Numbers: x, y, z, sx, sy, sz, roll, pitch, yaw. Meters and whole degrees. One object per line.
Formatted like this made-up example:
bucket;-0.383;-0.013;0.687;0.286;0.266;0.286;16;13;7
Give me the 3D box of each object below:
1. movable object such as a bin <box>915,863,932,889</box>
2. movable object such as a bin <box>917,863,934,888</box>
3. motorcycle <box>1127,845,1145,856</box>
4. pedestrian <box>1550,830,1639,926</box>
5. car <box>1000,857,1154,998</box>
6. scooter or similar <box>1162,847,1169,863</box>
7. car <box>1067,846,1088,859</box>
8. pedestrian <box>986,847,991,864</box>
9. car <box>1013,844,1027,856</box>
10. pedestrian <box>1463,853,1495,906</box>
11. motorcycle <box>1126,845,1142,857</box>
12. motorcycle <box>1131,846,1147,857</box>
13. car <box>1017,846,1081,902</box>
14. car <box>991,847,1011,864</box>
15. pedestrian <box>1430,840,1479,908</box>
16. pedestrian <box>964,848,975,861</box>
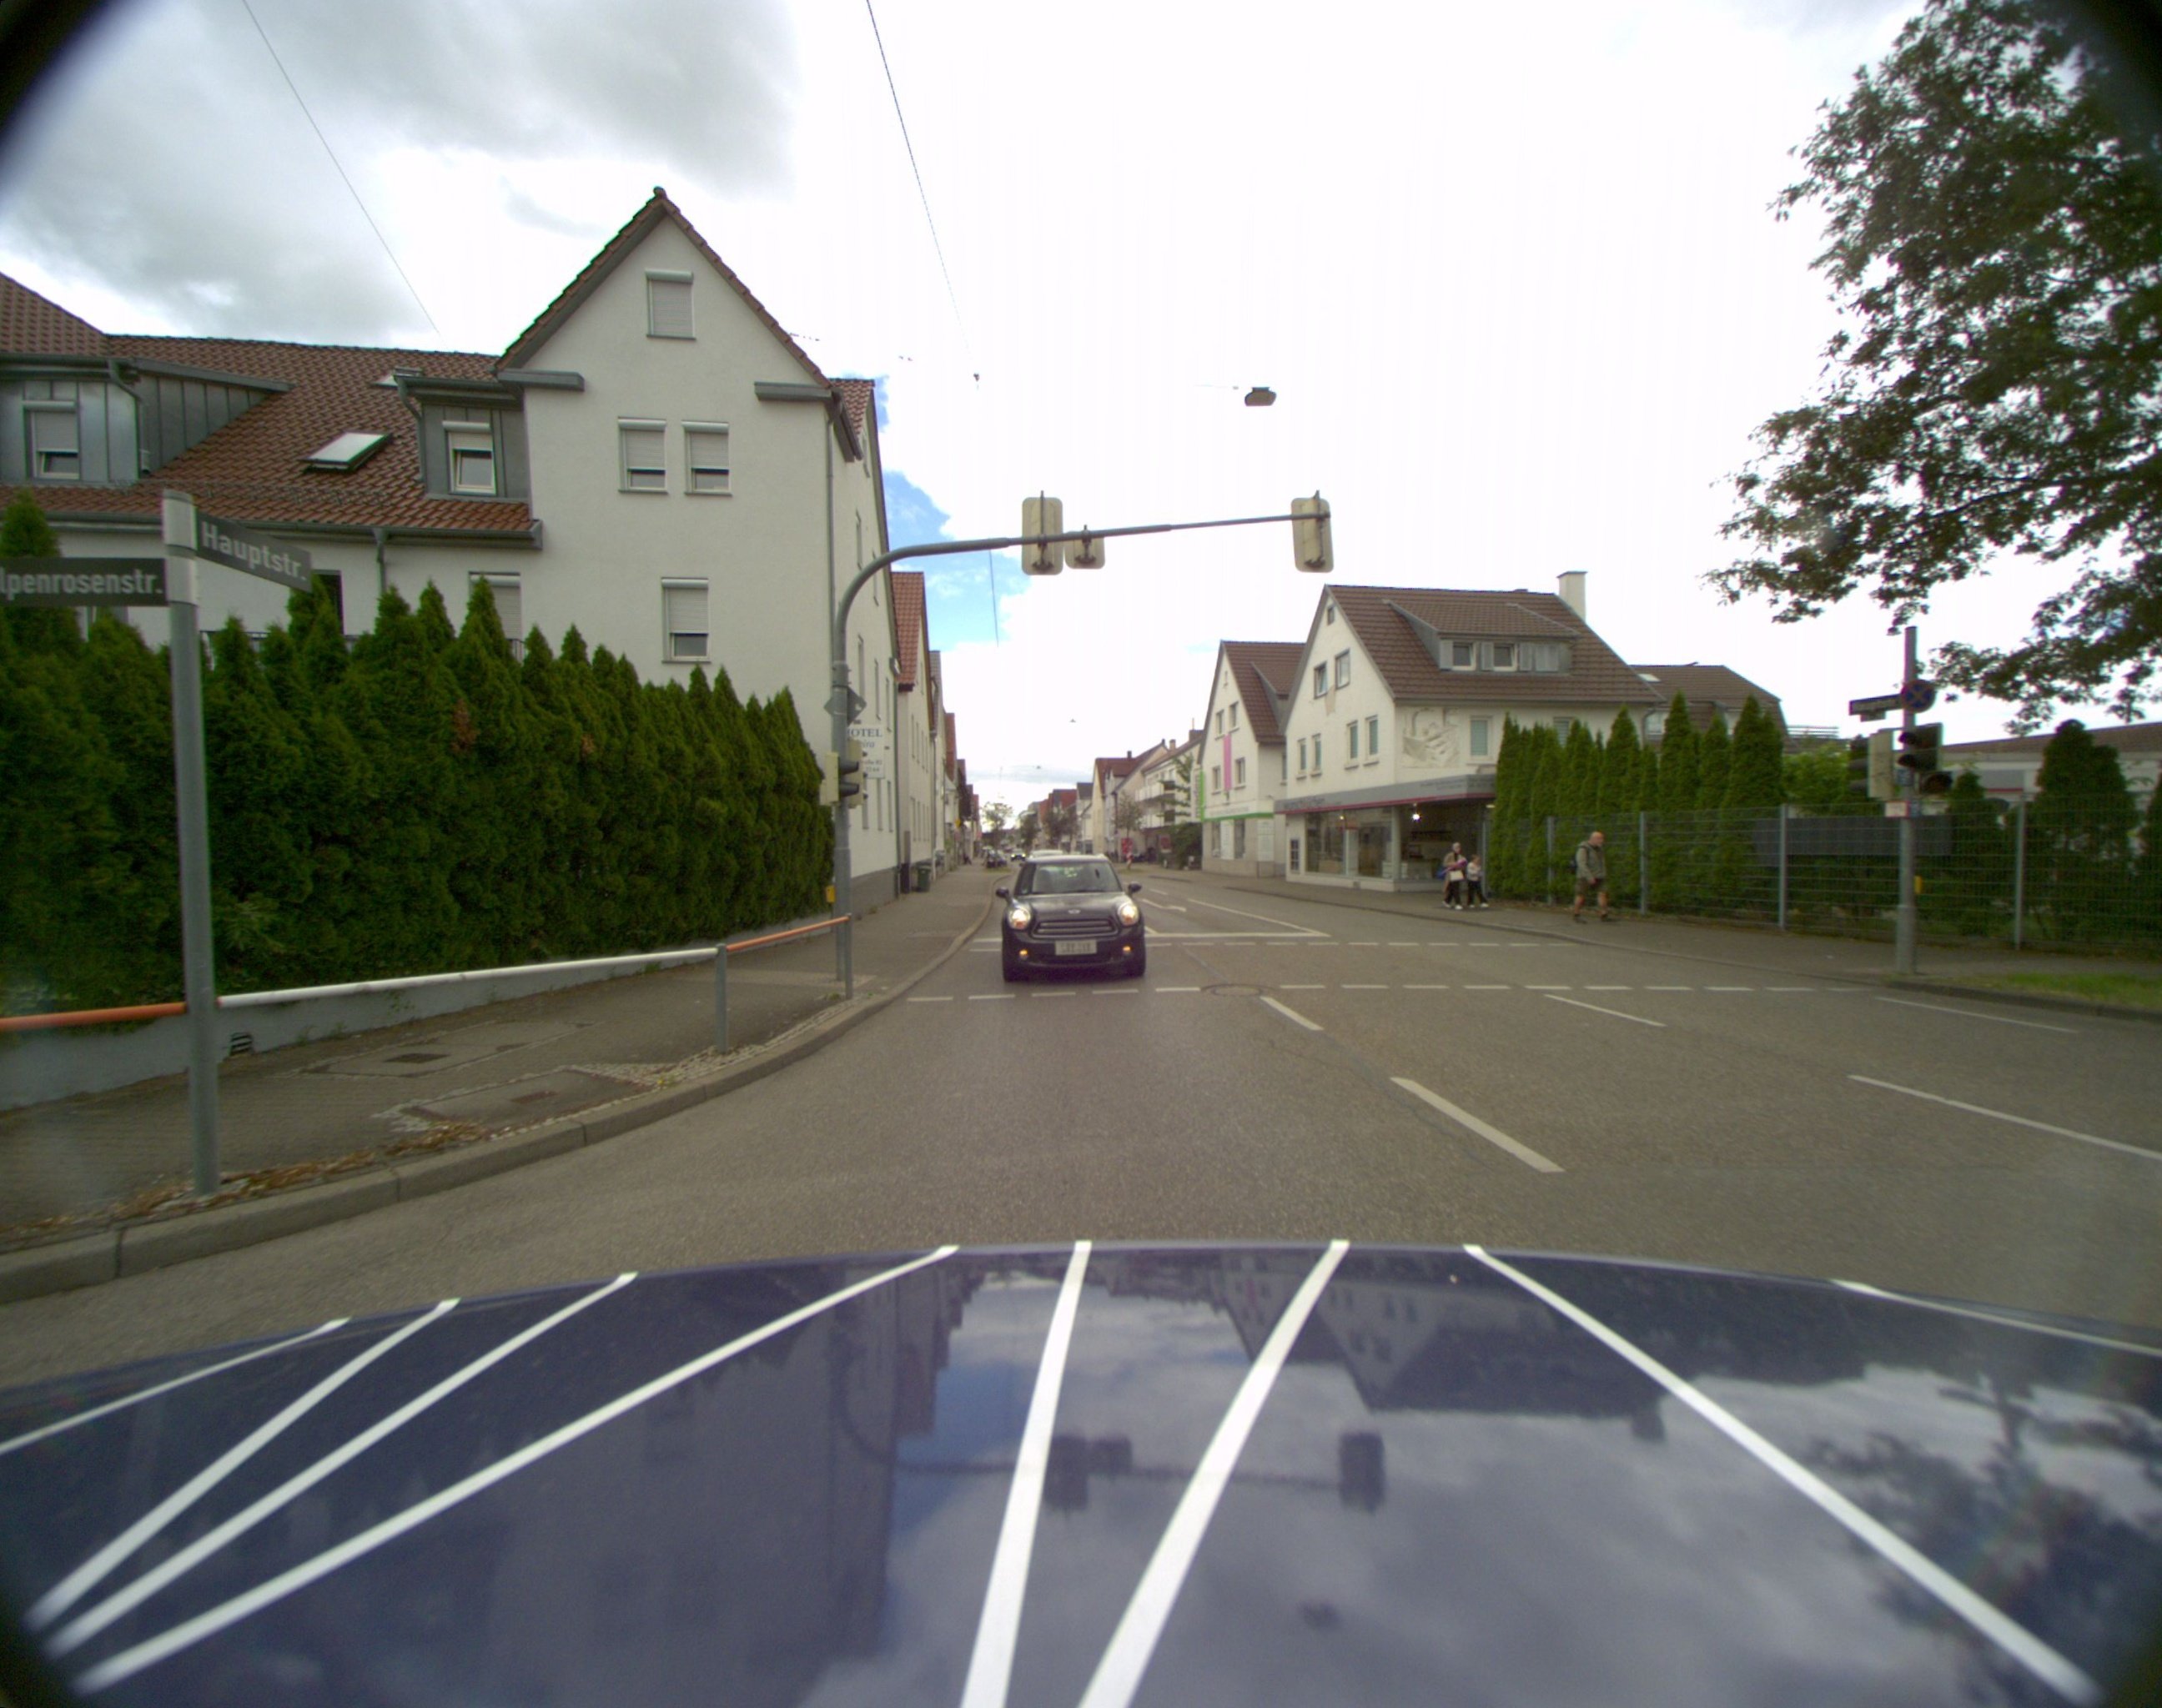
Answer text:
movable object such as a bin;-5.699;0.799;27.497;0.566;0.898;0.519;0;2;-5
movable object such as a bin;-5.764;0.789;28.134;0.566;0.898;0.519;0;2;-5
motorcycle;5.493;-0.358;75.996;1.679;1.099;0.558;-3;2;-6
pedestrian;9.858;0.424;14.632;0.824;1.744;1.228;-2;2;-5
car;-0.204;0.827;10.532;1.694;1.507;3.998;-1;0;-5
scooter or similar;6.226;0.058;55.891;0.465;1.117;1.828;-2;1;9
car;-0.417;-0.210;83.890;1.635;1.404;3.996;0;1;-9
pedestrian;-9.685;0.129;79.388;0.497;1.744;0.451;-1;1;-5
car;-8.420;-0.547;104.157;1.847;1.510;3.997;-2;1;-5
pedestrian;9.722;0.623;18.568;0.383;1.255;0.549;-3;2;-16
motorcycle;5.146;-0.301;74.237;1.515;1.099;0.589;-3;2;0
motorcycle;5.649;-0.271;73.483;1.430;1.017;0.525;-3;2;-6
car;-1.219;0.625;26.725;1.812;1.556;4.613;-2;3;-7
car;-7.940;0.090;75.337;1.847;1.510;3.996;-2;2;-7
pedestrian;9.148;0.476;18.629;0.642;1.596;0.865;-3;2;-16
pedestrian;-11.586;0.068;78.965;0.982;1.272;0.666;0;1;6
